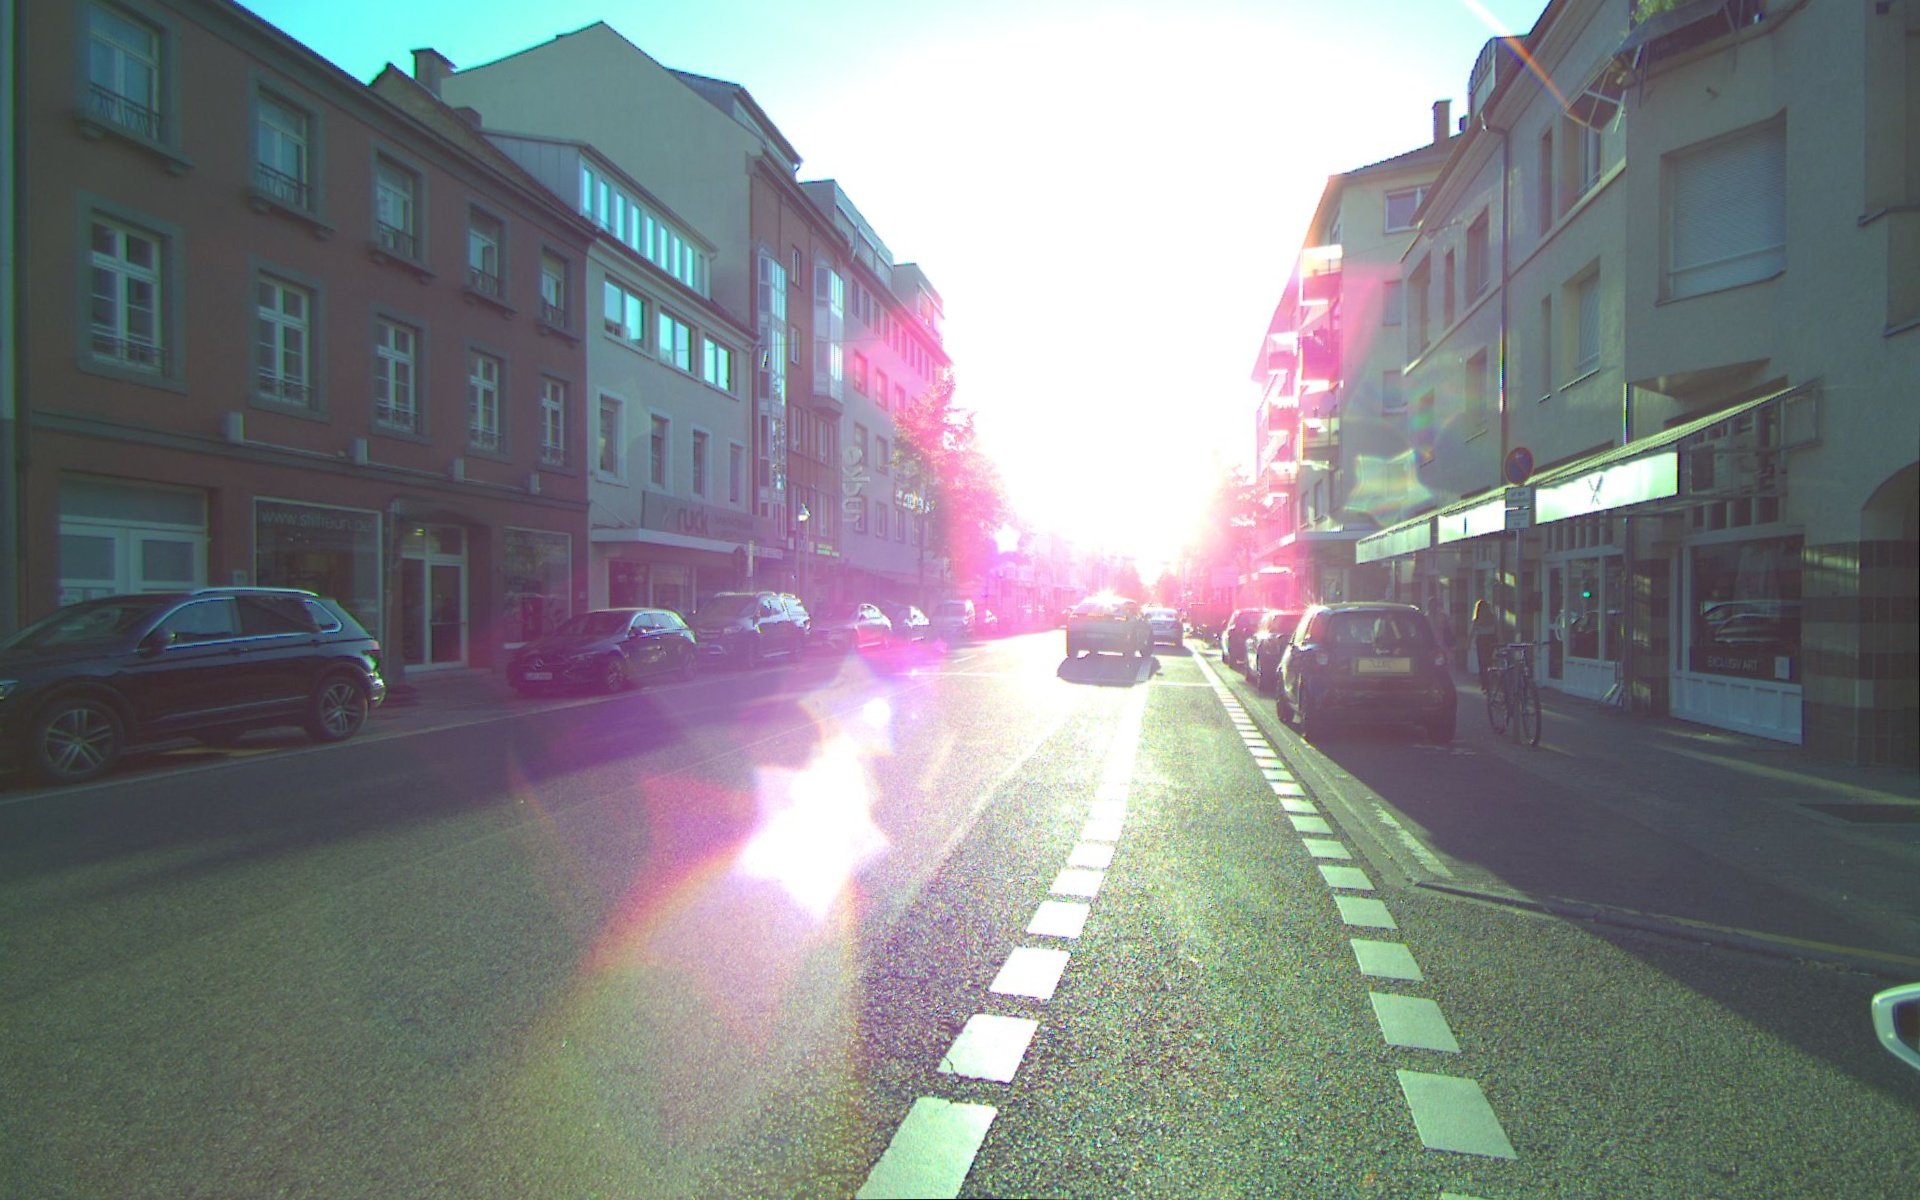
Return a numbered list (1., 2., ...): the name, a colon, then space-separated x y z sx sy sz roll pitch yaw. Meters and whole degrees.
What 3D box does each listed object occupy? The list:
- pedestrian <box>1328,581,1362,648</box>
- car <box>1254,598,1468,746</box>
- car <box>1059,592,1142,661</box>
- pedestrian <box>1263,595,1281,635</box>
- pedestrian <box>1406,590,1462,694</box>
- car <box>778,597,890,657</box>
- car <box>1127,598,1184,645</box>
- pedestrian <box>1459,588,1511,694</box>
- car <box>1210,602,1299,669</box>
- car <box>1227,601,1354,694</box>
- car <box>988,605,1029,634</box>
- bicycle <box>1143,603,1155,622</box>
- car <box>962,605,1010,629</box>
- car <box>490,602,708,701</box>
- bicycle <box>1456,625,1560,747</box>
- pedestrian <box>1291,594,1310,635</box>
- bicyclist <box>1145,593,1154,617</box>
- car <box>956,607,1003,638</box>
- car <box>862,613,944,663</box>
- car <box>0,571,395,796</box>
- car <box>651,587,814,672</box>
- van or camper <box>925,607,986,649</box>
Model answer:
1. pedestrian: 10.194 0.376 26.613 0.706 1.757 0.738 -1 0 11
2. car: 4.956 0.781 12.989 1.758 1.601 3.969 0 0 9
3. car: 3.987 0.686 27.953 1.841 1.720 4.323 2 0 14
4. pedestrian: 14.362 0.693 46.258 0.706 1.815 0.667 -1 0 12
5. pedestrian: 8.111 0.701 17.232 0.619 1.722 1.041 0 0 11
6. car: -3.748 0.777 30.819 1.959 1.677 4.630 -1 0 12
7. car: 7.390 0.767 38.134 1.959 1.626 4.407 1 0 10
8. pedestrian: 8.766 0.674 16.782 0.550 1.722 0.832 0 0 11
9. car: 7.533 0.852 25.994 1.758 1.601 3.789 0 0 9
10. car: 6.211 0.815 19.255 1.758 1.601 3.789 0 0 9
11. car: 2.741 1.057 56.538 1.661 1.523 3.789 0 0 13
12. bicycle: 12.748 0.834 67.776 0.652 1.259 2.131 2 0 14
13. car: 1.944 1.284 77.245 1.820 1.670 4.270 2 0 -27
14. car: -6.342 0.838 18.240 1.656 1.508 4.413 -3 0 11
15. bicycle: 6.212 0.920 11.481 0.549 1.222 1.978 0 0 14
16. pedestrian: 15.234 0.653 44.934 0.706 1.815 0.667 -1 0 12
17. bicyclist: 12.740 0.340 67.608 0.537 1.602 0.803 0 0 15
18. car: 1.037 1.132 51.803 1.661 1.523 3.789 0 0 13
19. car: -1.996 1.325 36.756 1.959 1.677 4.483 0 0 11
20. car: -7.880 0.670 9.651 1.763 1.721 4.463 -2 0 11
21. car: -5.317 0.646 24.334 1.959 1.801 5.322 -1 0 9
22. van or camper: -0.144 1.226 46.030 1.757 1.797 4.560 0 0 13
